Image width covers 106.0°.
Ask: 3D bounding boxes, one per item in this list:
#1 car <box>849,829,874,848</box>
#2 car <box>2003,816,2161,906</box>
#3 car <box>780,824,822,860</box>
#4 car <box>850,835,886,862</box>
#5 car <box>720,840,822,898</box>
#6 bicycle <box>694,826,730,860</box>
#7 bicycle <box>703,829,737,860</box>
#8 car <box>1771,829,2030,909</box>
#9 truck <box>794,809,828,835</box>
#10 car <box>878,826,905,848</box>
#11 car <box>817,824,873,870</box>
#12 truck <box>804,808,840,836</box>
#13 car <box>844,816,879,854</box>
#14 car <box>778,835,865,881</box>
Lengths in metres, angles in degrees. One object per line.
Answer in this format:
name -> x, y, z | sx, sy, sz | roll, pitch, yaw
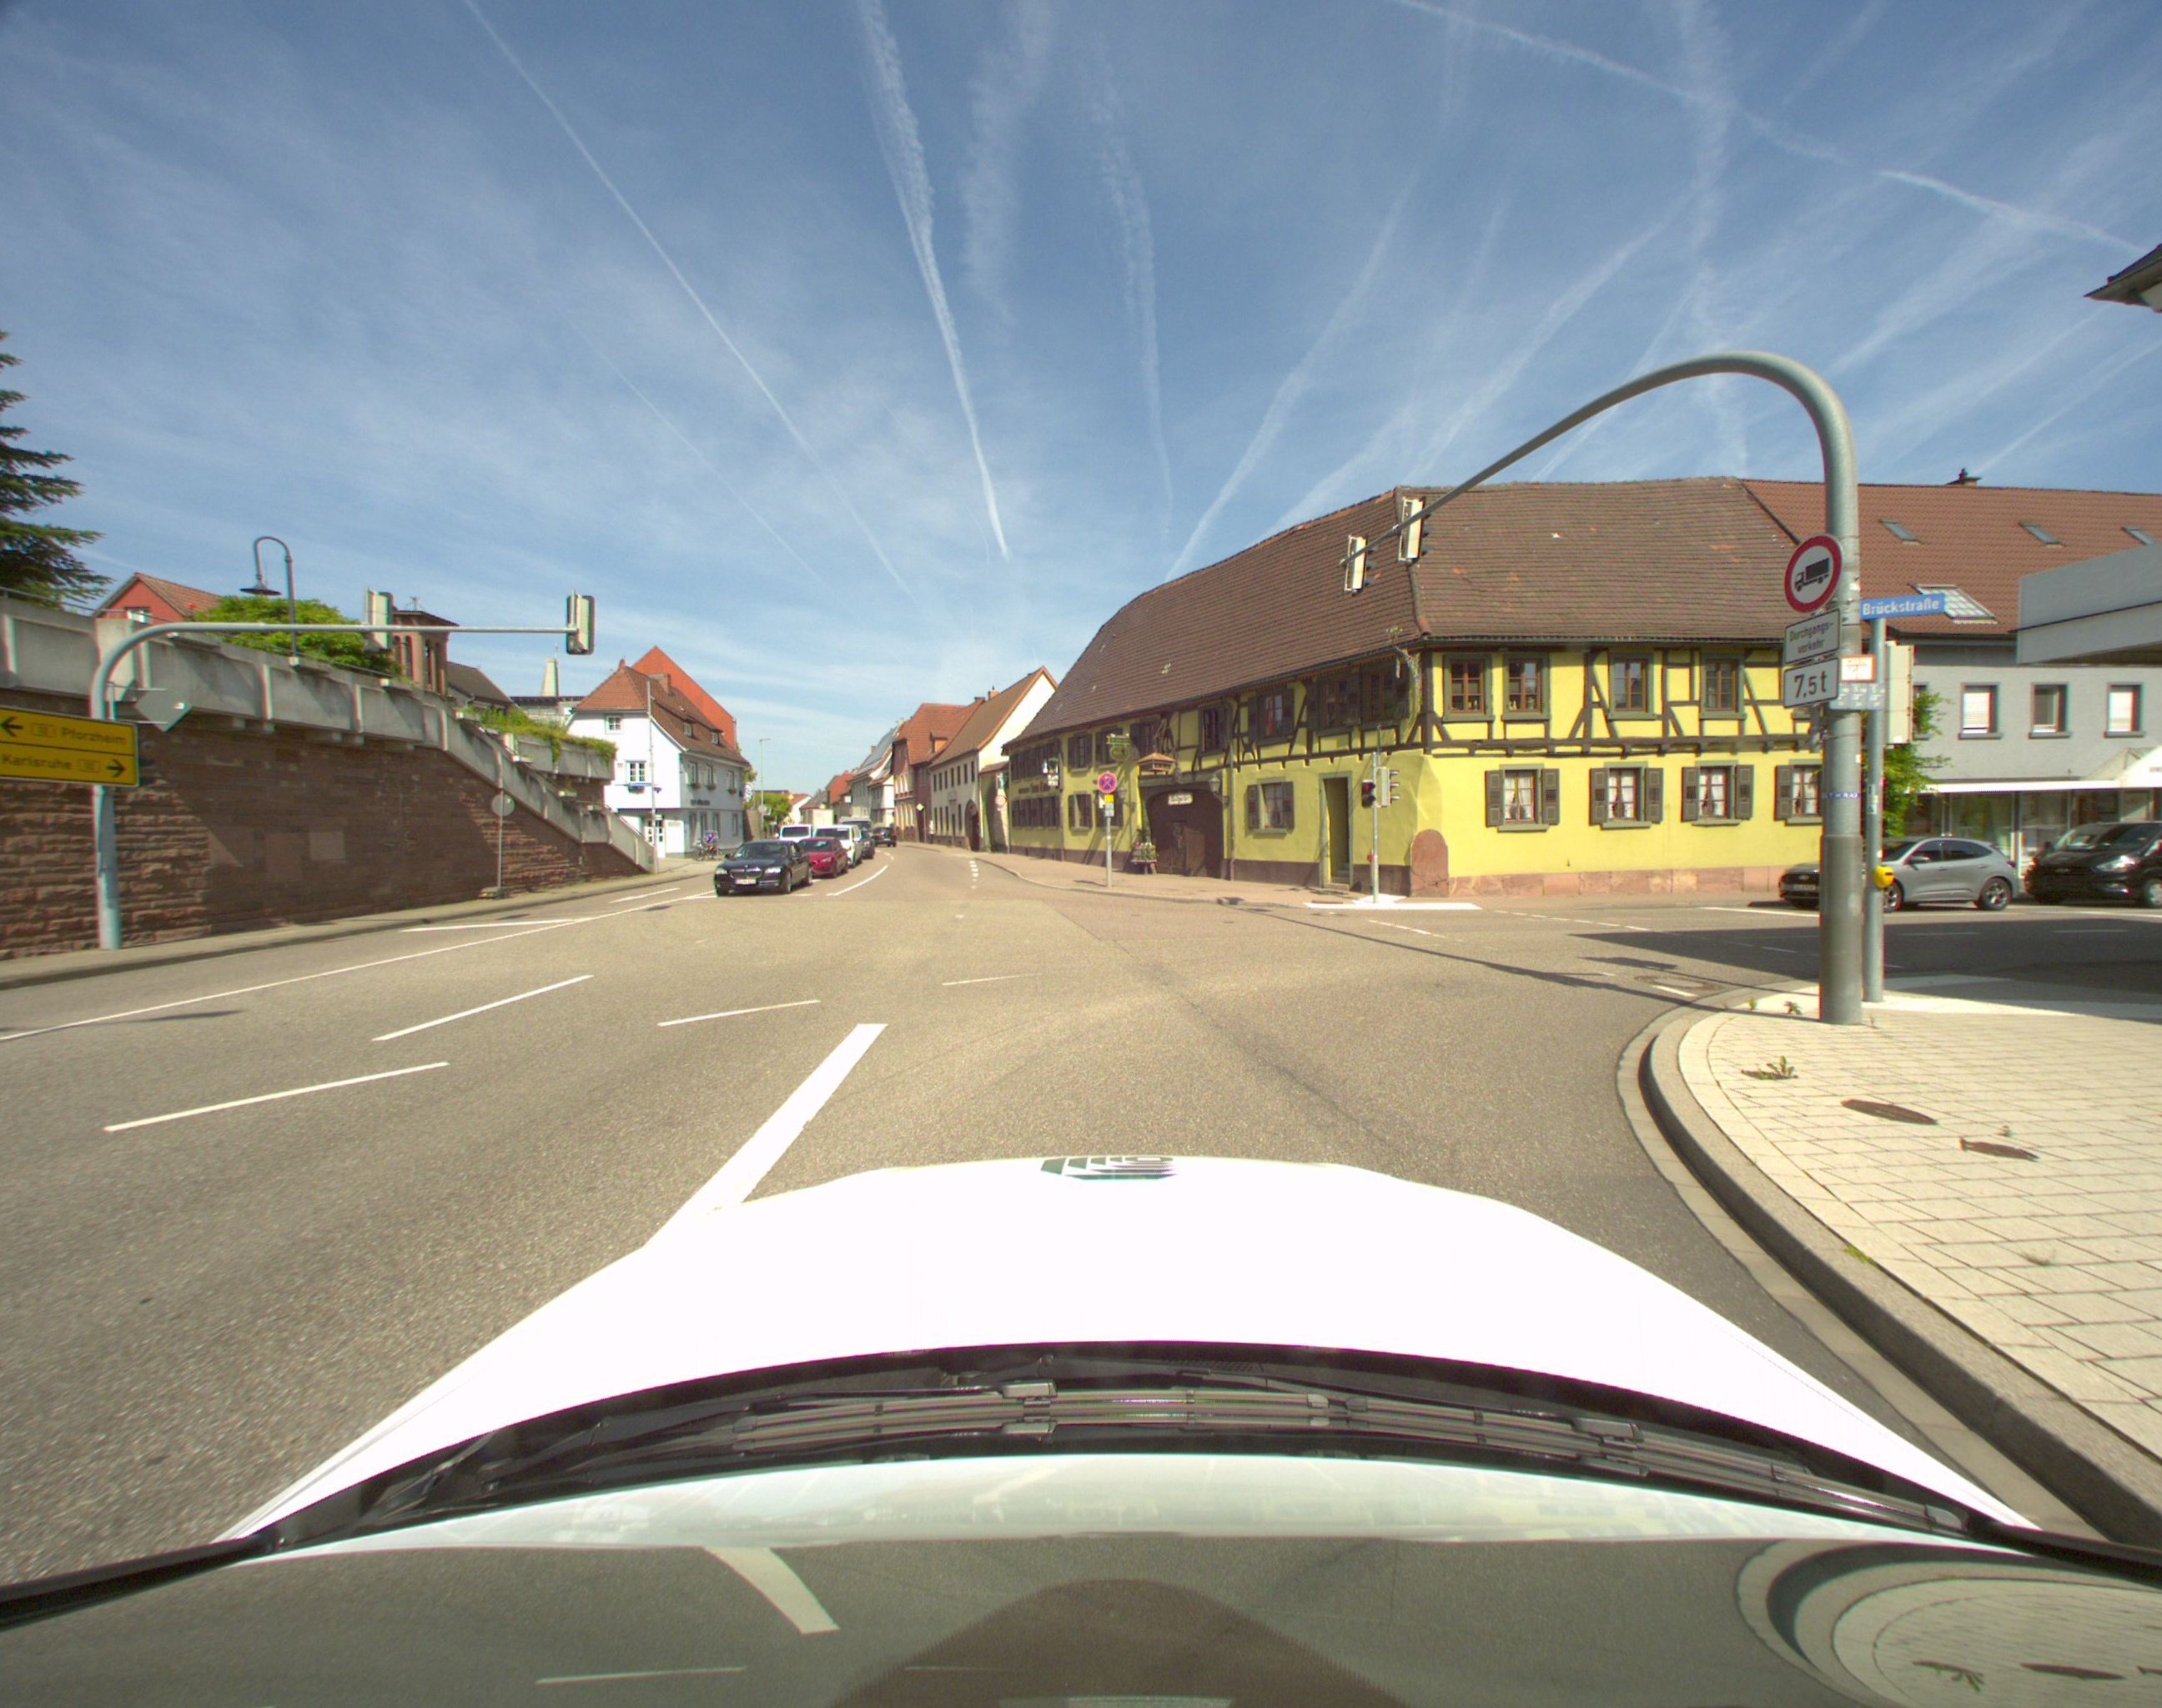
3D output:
car -> -18.500, -1.326, 68.554 | 1.790, 1.526, 3.982 | -2, 2, -17
car -> 24.945, 0.092, 18.963 | 5.145, 1.923, 2.160 | -1, 1, -8
car -> -16.635, -0.737, 48.674 | 2.142, 1.966, 5.247 | -2, 2, -17
car -> -11.480, -0.335, 43.728 | 1.580, 1.384, 3.536 | 1, 1, -20
car -> -8.767, 0.362, 23.401 | 1.820, 1.434, 4.237 | -1, 2, -8
bicycle -> -20.083, -0.627, 44.389 | 0.638, 1.779, 2.672 | 1, 1, 2
bicycle -> -19.303, -0.507, 43.566 | 0.555, 1.607, 2.564 | 1, 1, 2
car -> 18.039, 0.301, 18.016 | 4.411, 1.610, 1.756 | -1, -1, -8
truck -> -39.535, -4.562, 119.042 | 3.177, 3.460, 10.618 | 1, 0, -27
car -> -15.600, -1.406, 66.895 | 1.825, 1.738, 3.982 | -2, 2, -17
car -> -10.467, -0.379, 36.460 | 1.821, 1.906, 4.948 | -1, 2, -10
truck -> -35.146, -4.268, 110.176 | 3.240, 3.549, 9.152 | 0, 1, -26
car -> -13.872, -1.200, 51.408 | 1.763, 2.246, 4.523 | 1, 1, -20
car -> -9.562, 0.073, 30.452 | 2.157, 1.515, 4.937 | -1, 2, -7
